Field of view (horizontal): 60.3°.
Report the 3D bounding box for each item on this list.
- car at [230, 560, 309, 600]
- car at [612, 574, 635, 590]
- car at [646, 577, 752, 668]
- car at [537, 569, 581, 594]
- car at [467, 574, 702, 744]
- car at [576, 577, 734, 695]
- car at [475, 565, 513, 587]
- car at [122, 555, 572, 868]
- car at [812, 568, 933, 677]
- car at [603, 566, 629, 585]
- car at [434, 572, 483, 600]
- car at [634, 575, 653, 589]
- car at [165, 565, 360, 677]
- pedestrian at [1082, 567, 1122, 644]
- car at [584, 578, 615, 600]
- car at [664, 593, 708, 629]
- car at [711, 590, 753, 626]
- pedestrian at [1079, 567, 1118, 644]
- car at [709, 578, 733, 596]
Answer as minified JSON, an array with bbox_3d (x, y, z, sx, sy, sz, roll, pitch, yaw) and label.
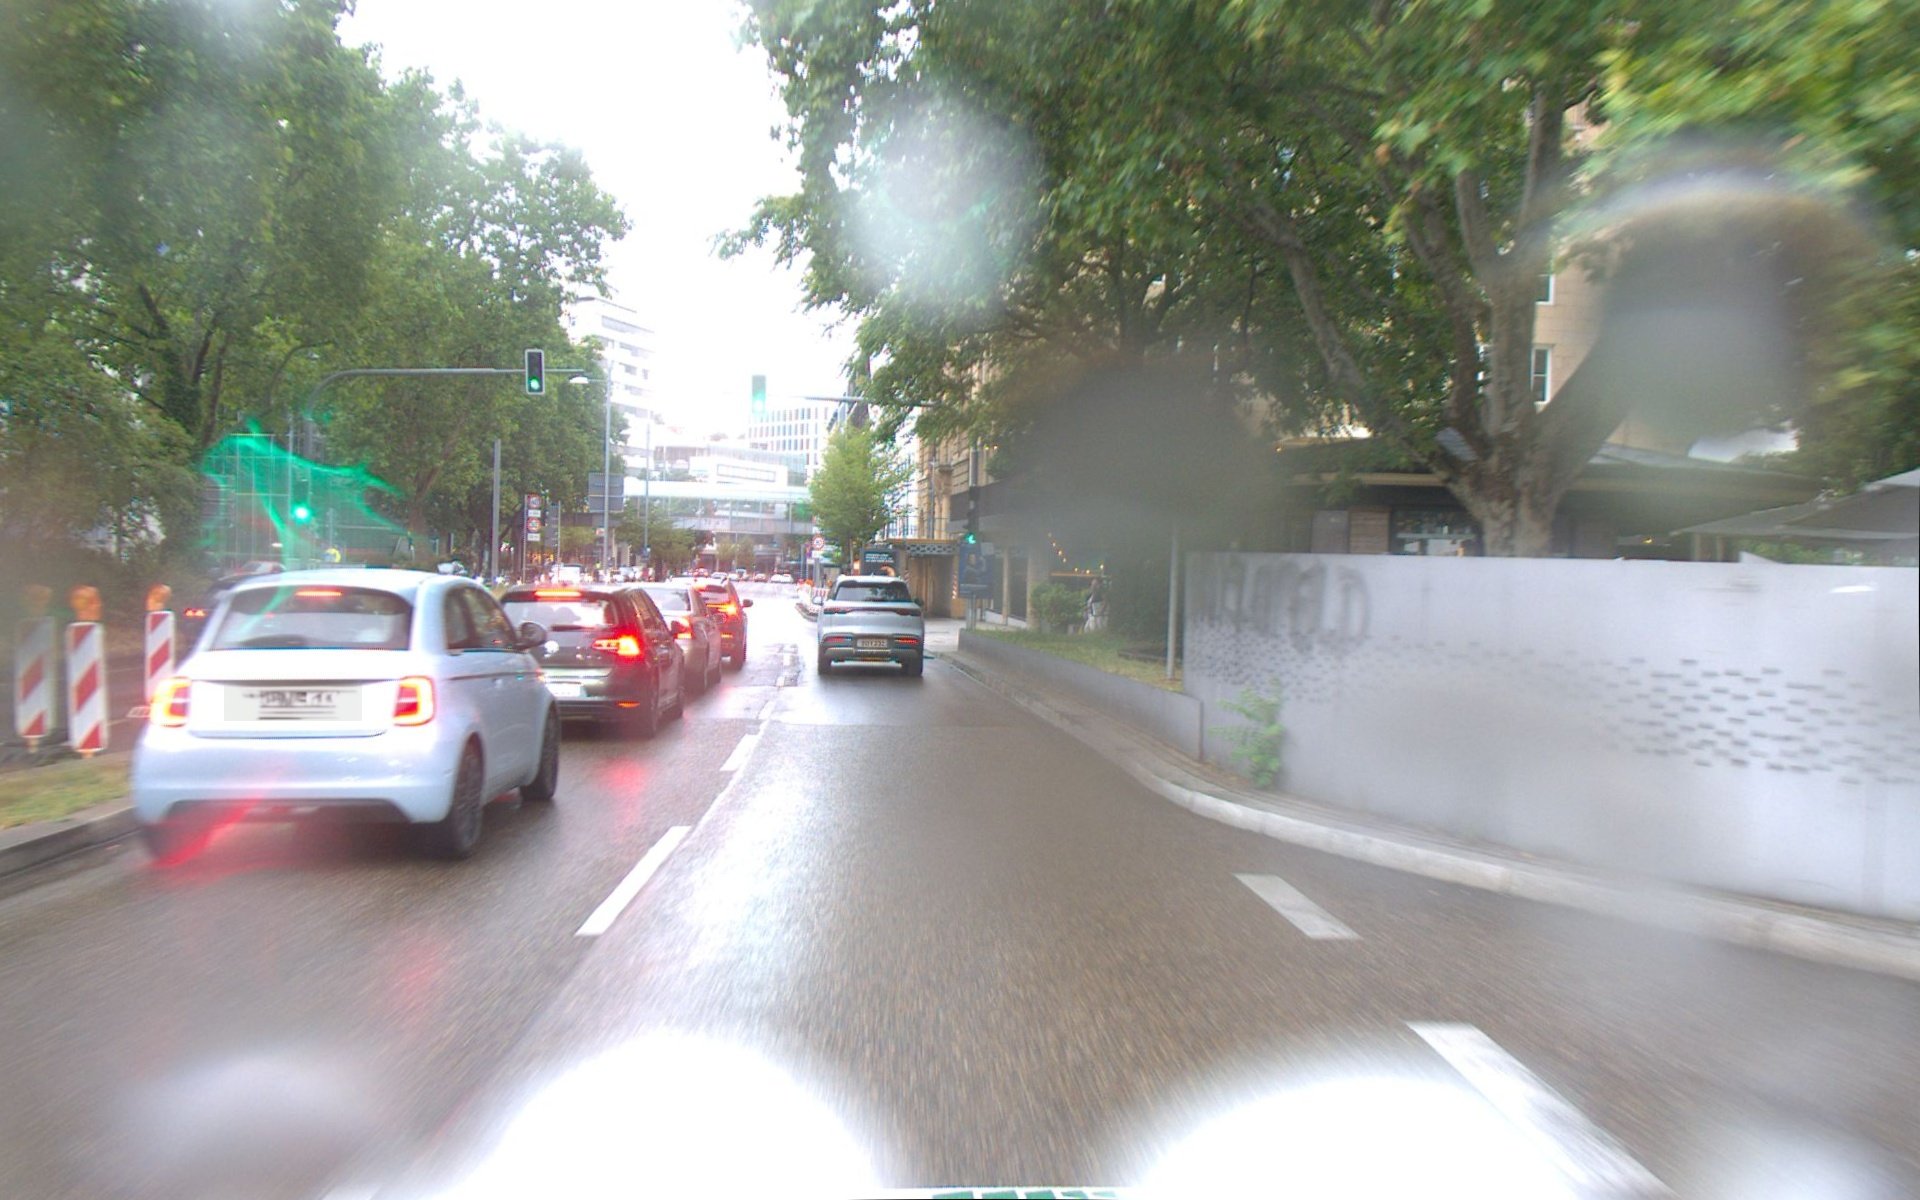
[{"bbox_3d":[-30.380,-0.858,72.923,1.654,1.671,4.239,2,0,0],"label":"car"},{"bbox_3d":[-32.699,-1.756,160.670,1.760,1.536,4.339,0,0,-6],"label":"car"},{"bbox_3d":[-4.569,0.343,29.418,1.659,1.488,4.339,0,0,-6],"label":"car"},{"bbox_3d":[-24.952,-1.153,102.919,2.118,1.488,4.339,0,0,-7],"label":"car"},{"bbox_3d":[-3.619,0.494,16.606,1.657,1.488,4.127,0,0,-4],"label":"car"},{"bbox_3d":[-4.152,0.431,23.118,1.657,1.488,4.342,0,0,-4],"label":"car"},{"bbox_3d":[-31.912,-1.624,113.276,1.813,1.390,4.233,2,0,-7],"label":"car"},{"bbox_3d":[-3.396,0.523,9.830,1.558,1.517,3.502,0,0,-4],"label":"car"},{"bbox_3d":[-1.552,0.358,28.999,1.908,1.695,4.342,2,0,-4],"label":"car"},{"bbox_3d":[-29.220,-2.053,140.541,1.760,1.536,4.494,0,0,-6],"label":"car"},{"bbox_3d":[-27.377,-0.767,90.380,1.760,1.536,4.494,0,0,-6],"label":"car"},{"bbox_3d":[-35.167,-1.976,183.870,1.760,1.536,4.339,0,0,-6],"label":"car"},{"bbox_3d":[-11.282,0.292,27.031,1.666,1.648,3.997,1,1,-4],"label":"car"},{"bbox_3d":[3.381,0.132,39.449,0.841,1.811,0.717,2,0,-1],"label":"pedestrian"},{"bbox_3d":[-26.394,-0.813,121.206,1.760,1.536,4.494,0,0,-6],"label":"car"},{"bbox_3d":[-11.756,0.460,71.156,1.659,1.488,4.339,0,0,-6],"label":"car"},{"bbox_3d":[-9.800,0.309,71.167,1.659,1.488,4.339,0,0,-6],"label":"car"},{"bbox_3d":[3.354,0.134,40.207,0.841,1.811,0.717,2,0,-1],"label":"pedestrian"},{"bbox_3d":[-20.300,-1.131,140.712,1.940,1.488,4.339,0,0,-7],"label":"car"}]
